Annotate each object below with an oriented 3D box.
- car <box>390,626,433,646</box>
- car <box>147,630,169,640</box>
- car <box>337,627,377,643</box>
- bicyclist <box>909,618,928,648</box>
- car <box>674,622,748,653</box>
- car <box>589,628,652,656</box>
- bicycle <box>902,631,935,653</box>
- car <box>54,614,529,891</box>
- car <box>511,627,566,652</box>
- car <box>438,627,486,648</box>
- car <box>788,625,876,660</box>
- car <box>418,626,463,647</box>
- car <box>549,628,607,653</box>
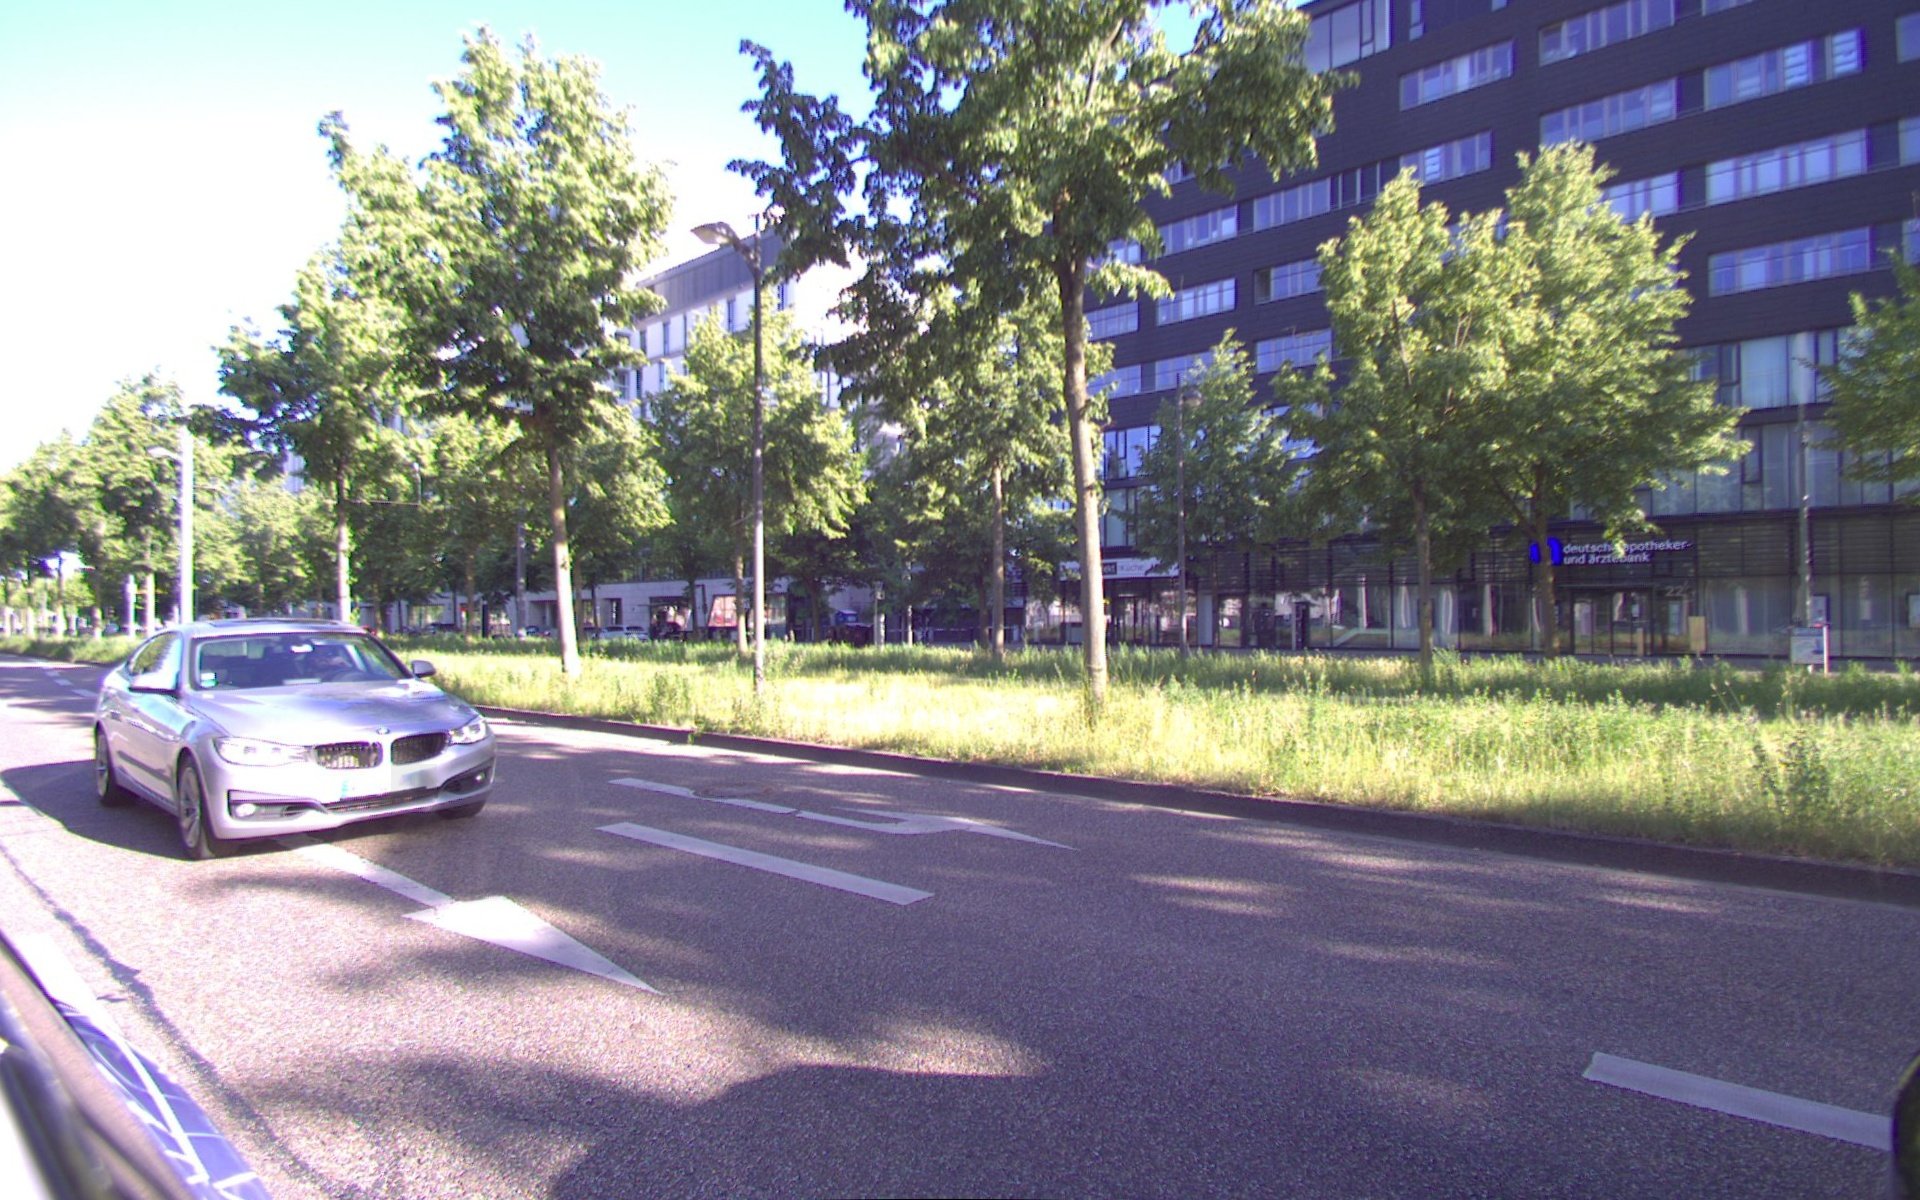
[{"bbox_3d":[-46.042,2.979,84.881,4.182,1.610,1.859,-2,-2,41],"label":"car"},{"bbox_3d":[-114.097,4.967,143.981,4.001,1.406,1.971,-2,-2,44],"label":"car"},{"bbox_3d":[-55.695,3.198,93.475,3.995,1.406,1.974,-2,-2,39],"label":"car"},{"bbox_3d":[-2.058,1.613,49.805,0.820,1.435,0.472,-2,-2,41],"label":"bicyclist"},{"bbox_3d":[-13.661,2.042,55.417,4.182,1.610,1.926,-2,-2,41],"label":"car"},{"bbox_3d":[-21.020,2.581,62.649,4.182,1.610,1.859,-2,-2,41],"label":"car"},{"bbox_3d":[-2.051,2.070,49.799,1.755,1.043,0.472,-2,-2,41],"label":"bicycle"},{"bbox_3d":[-5.224,0.873,7.637,4.558,1.496,1.800,-1,-2,40],"label":"car"},{"bbox_3d":[-29.181,2.711,69.976,4.182,1.610,1.859,-2,-2,41],"label":"car"},{"bbox_3d":[-38.123,2.859,77.480,4.182,1.610,1.859,-2,-2,41],"label":"car"},{"bbox_3d":[-6.216,2.012,48.906,4.182,1.610,1.926,-2,-2,41],"label":"car"},{"bbox_3d":[-41.586,2.908,80.986,4.182,1.610,1.859,-2,-2,41],"label":"car"},{"bbox_3d":[-25.151,2.644,66.565,4.182,1.610,1.859,-2,-2,41],"label":"car"}]
